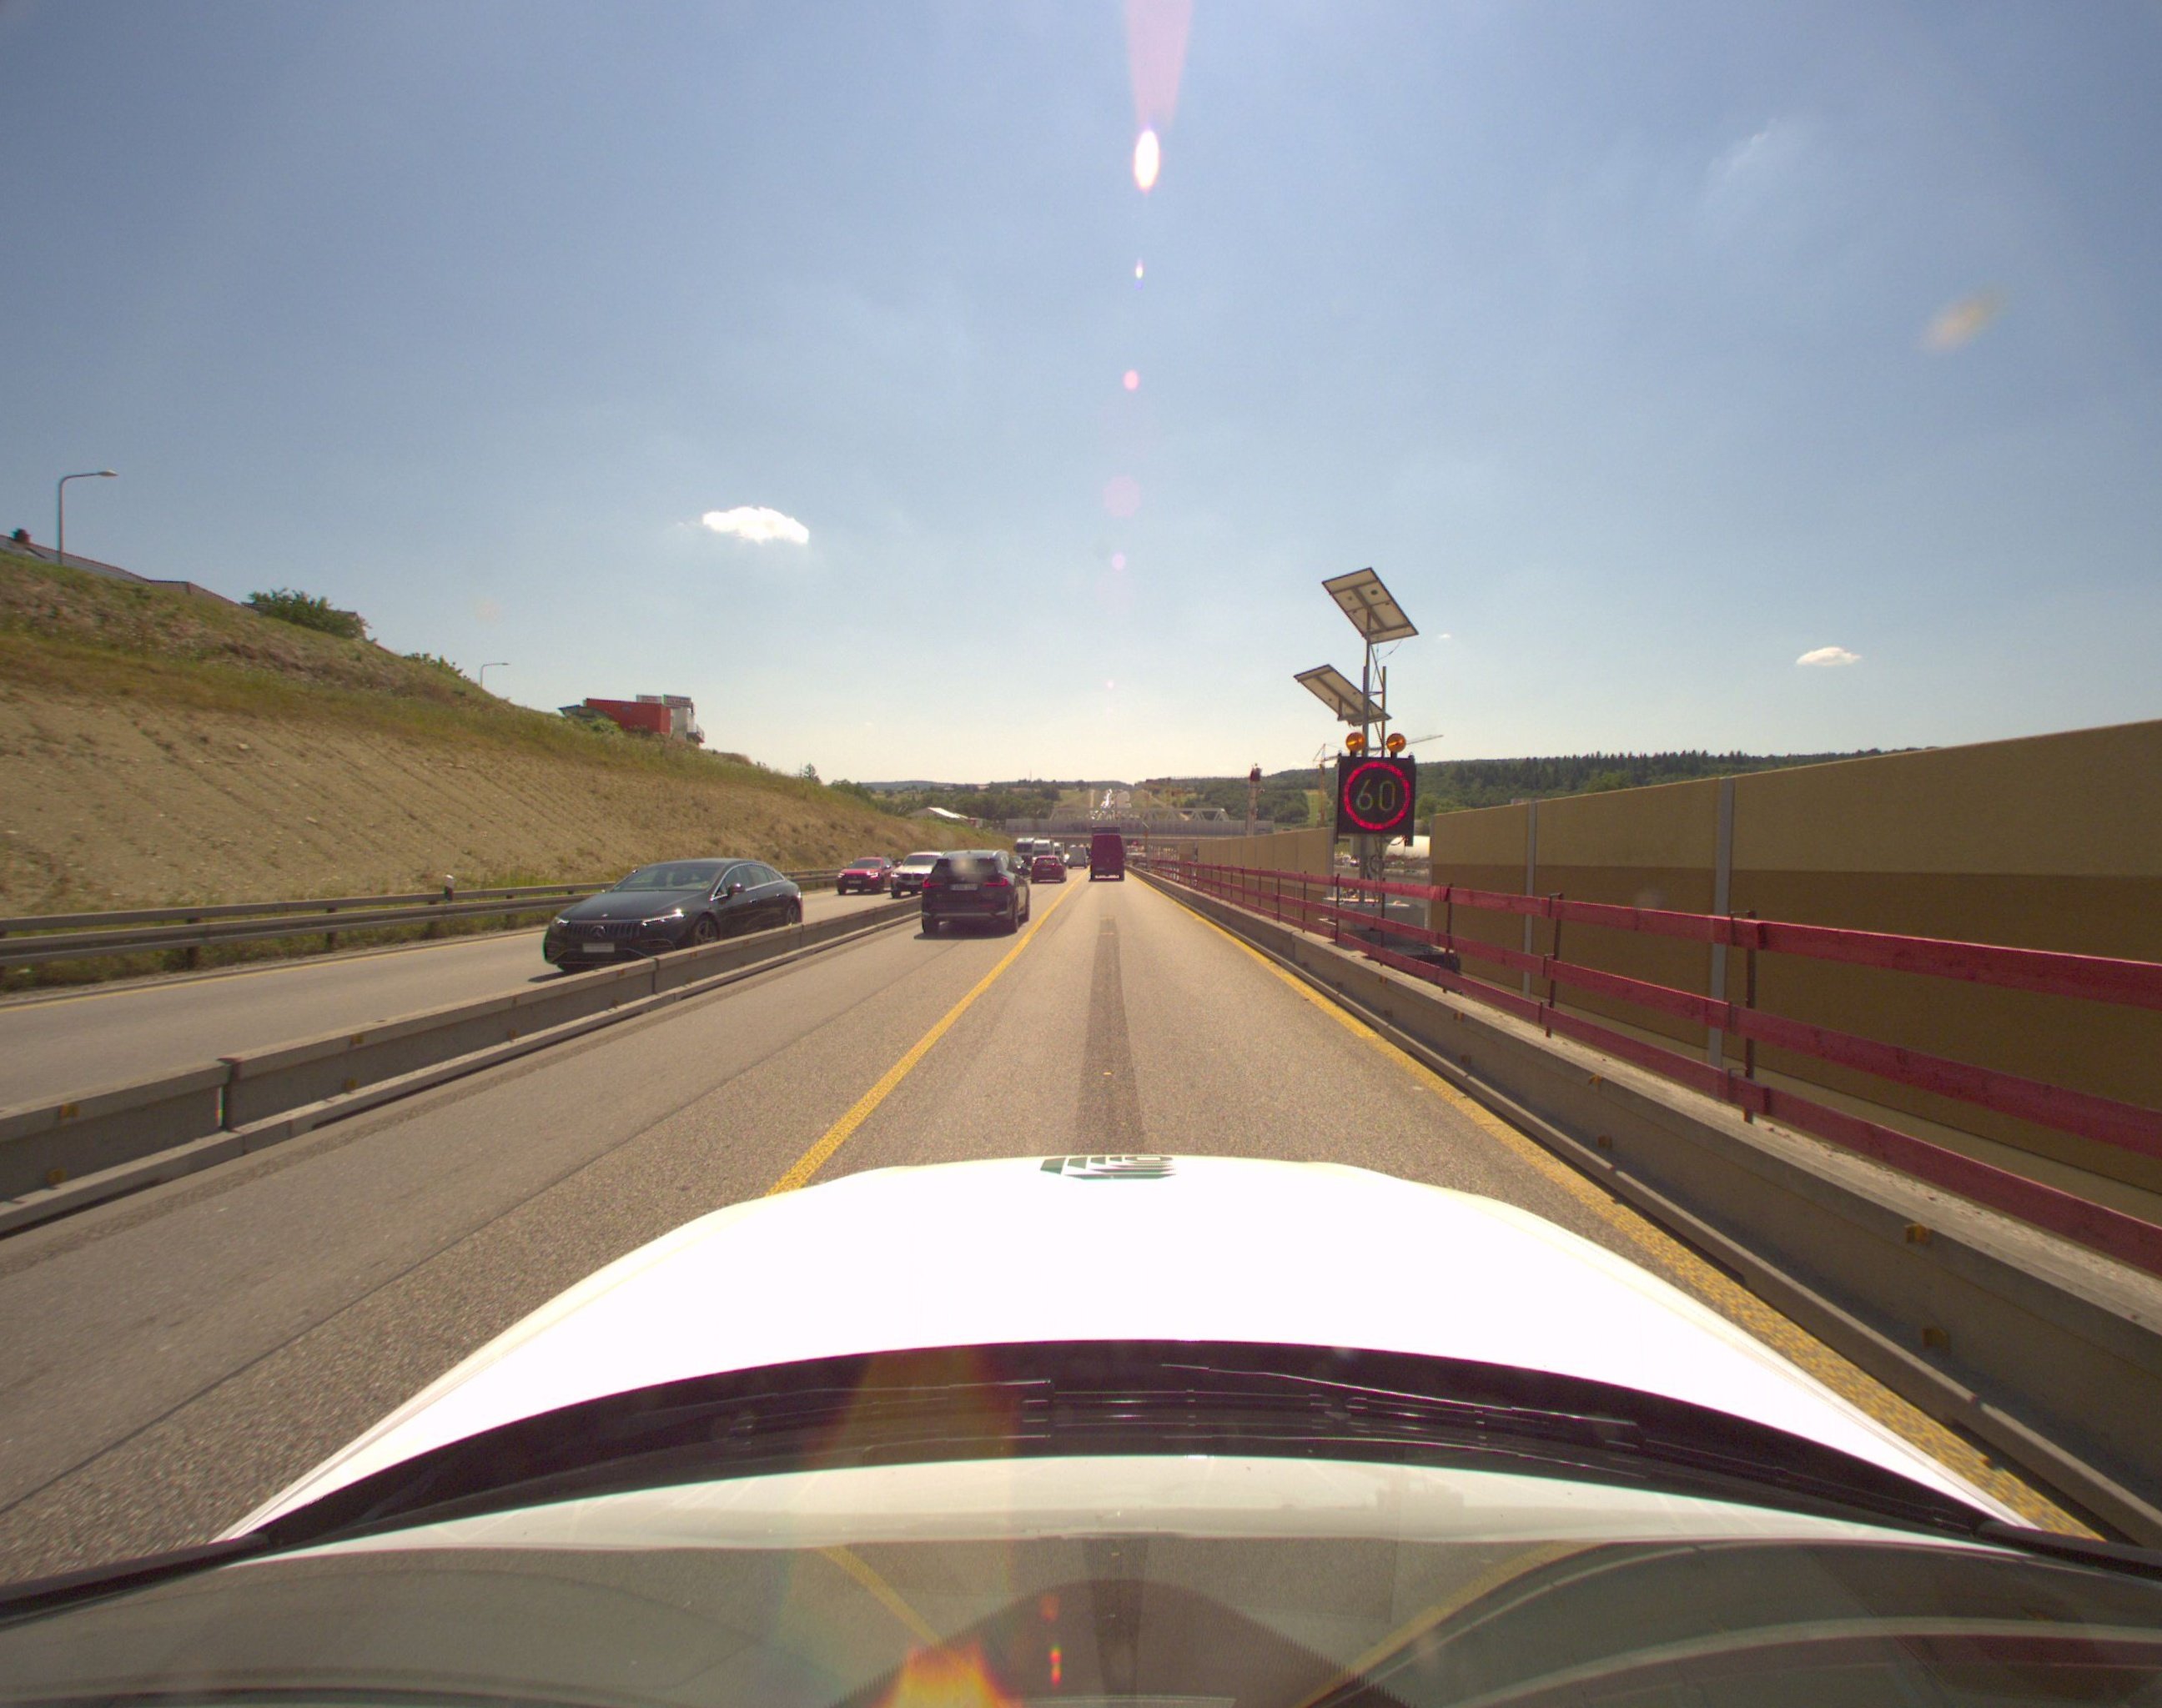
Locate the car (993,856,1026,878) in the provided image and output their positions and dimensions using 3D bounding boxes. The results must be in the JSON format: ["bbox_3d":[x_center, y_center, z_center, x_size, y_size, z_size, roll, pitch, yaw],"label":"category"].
[{"bbox_3d":[-5.063,0.897,58.541,1.790,1.427,4.951,-1,0,1],"label":"car"}]

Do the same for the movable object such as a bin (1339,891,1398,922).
[{"bbox_3d":[27.879,5.049,79.363,3.150,2.446,7.899,2,0,2],"label":"movable object such as a bin"}]

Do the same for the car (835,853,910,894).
[{"bbox_3d":[-8.642,0.777,34.205,1.678,1.585,5.128,0,0,1],"label":"car"}]

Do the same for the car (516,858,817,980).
[{"bbox_3d":[-5.972,0.817,12.654,1.948,1.499,5.091,0,0,1],"label":"car"}]

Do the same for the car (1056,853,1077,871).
[{"bbox_3d":[-1.337,0.733,76.809,1.833,1.654,4.165,-1,0,1],"label":"car"}]

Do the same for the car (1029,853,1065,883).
[{"bbox_3d":[-1.794,0.737,44.423,1.770,1.517,4.205,-1,0,0],"label":"car"}]

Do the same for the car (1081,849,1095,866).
[{"bbox_3d":[0.987,0.447,111.931,1.769,2.330,4.207,-1,0,1],"label":"car"}]

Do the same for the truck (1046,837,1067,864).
[{"bbox_3d":[-3.418,-0.453,115.256,2.580,3.758,7.360,0,0,1],"label":"truck"}]

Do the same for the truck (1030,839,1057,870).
[{"bbox_3d":[-4.186,0.065,91.878,2.529,3.374,7.039,0,0,1],"label":"truck"}]

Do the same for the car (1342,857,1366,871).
[{"bbox_3d":[38.912,1.435,116.138,1.800,2.013,4.823,0,0,-1],"label":"car"}]

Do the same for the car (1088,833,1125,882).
[{"bbox_3d":[1.478,0.207,47.621,1.981,2.690,4.625,-1,0,1],"label":"car"}]

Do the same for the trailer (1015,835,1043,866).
[{"bbox_3d":[-7.086,-0.502,113.573,2.688,4.024,13.705,0,0,1],"label":"trailer"}]

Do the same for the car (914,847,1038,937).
[{"bbox_3d":[-2.040,0.703,17.167,1.873,1.618,4.500,-1,0,1],"label":"car"}]

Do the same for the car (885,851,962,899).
[{"bbox_3d":[-5.818,0.720,30.594,1.838,1.665,4.690,0,0,1],"label":"car"}]

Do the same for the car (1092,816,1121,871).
[{"bbox_3d":[2.472,-0.951,79.664,2.611,5.032,10.400,-1,0,2],"label":"car"}]

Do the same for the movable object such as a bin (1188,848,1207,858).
[{"bbox_3d":[33.321,-0.275,233.045,5.118,2.807,2.147,0,-1,7],"label":"movable object such as a bin"}]

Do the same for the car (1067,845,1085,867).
[{"bbox_3d":[-0.556,0.241,92.218,1.769,2.441,4.207,-1,0,1],"label":"car"}]

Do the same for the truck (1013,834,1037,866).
[{"bbox_3d":[-7.286,-0.506,105.966,2.688,4.050,3.956,0,0,1],"label":"truck"}]

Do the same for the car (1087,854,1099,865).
[{"bbox_3d":[1.906,0.782,126.224,1.769,1.670,4.030,-1,0,1],"label":"car"}]

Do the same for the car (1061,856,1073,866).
[{"bbox_3d":[-2.237,1.130,131.564,1.773,1.458,4.721,0,0,1],"label":"car"}]
